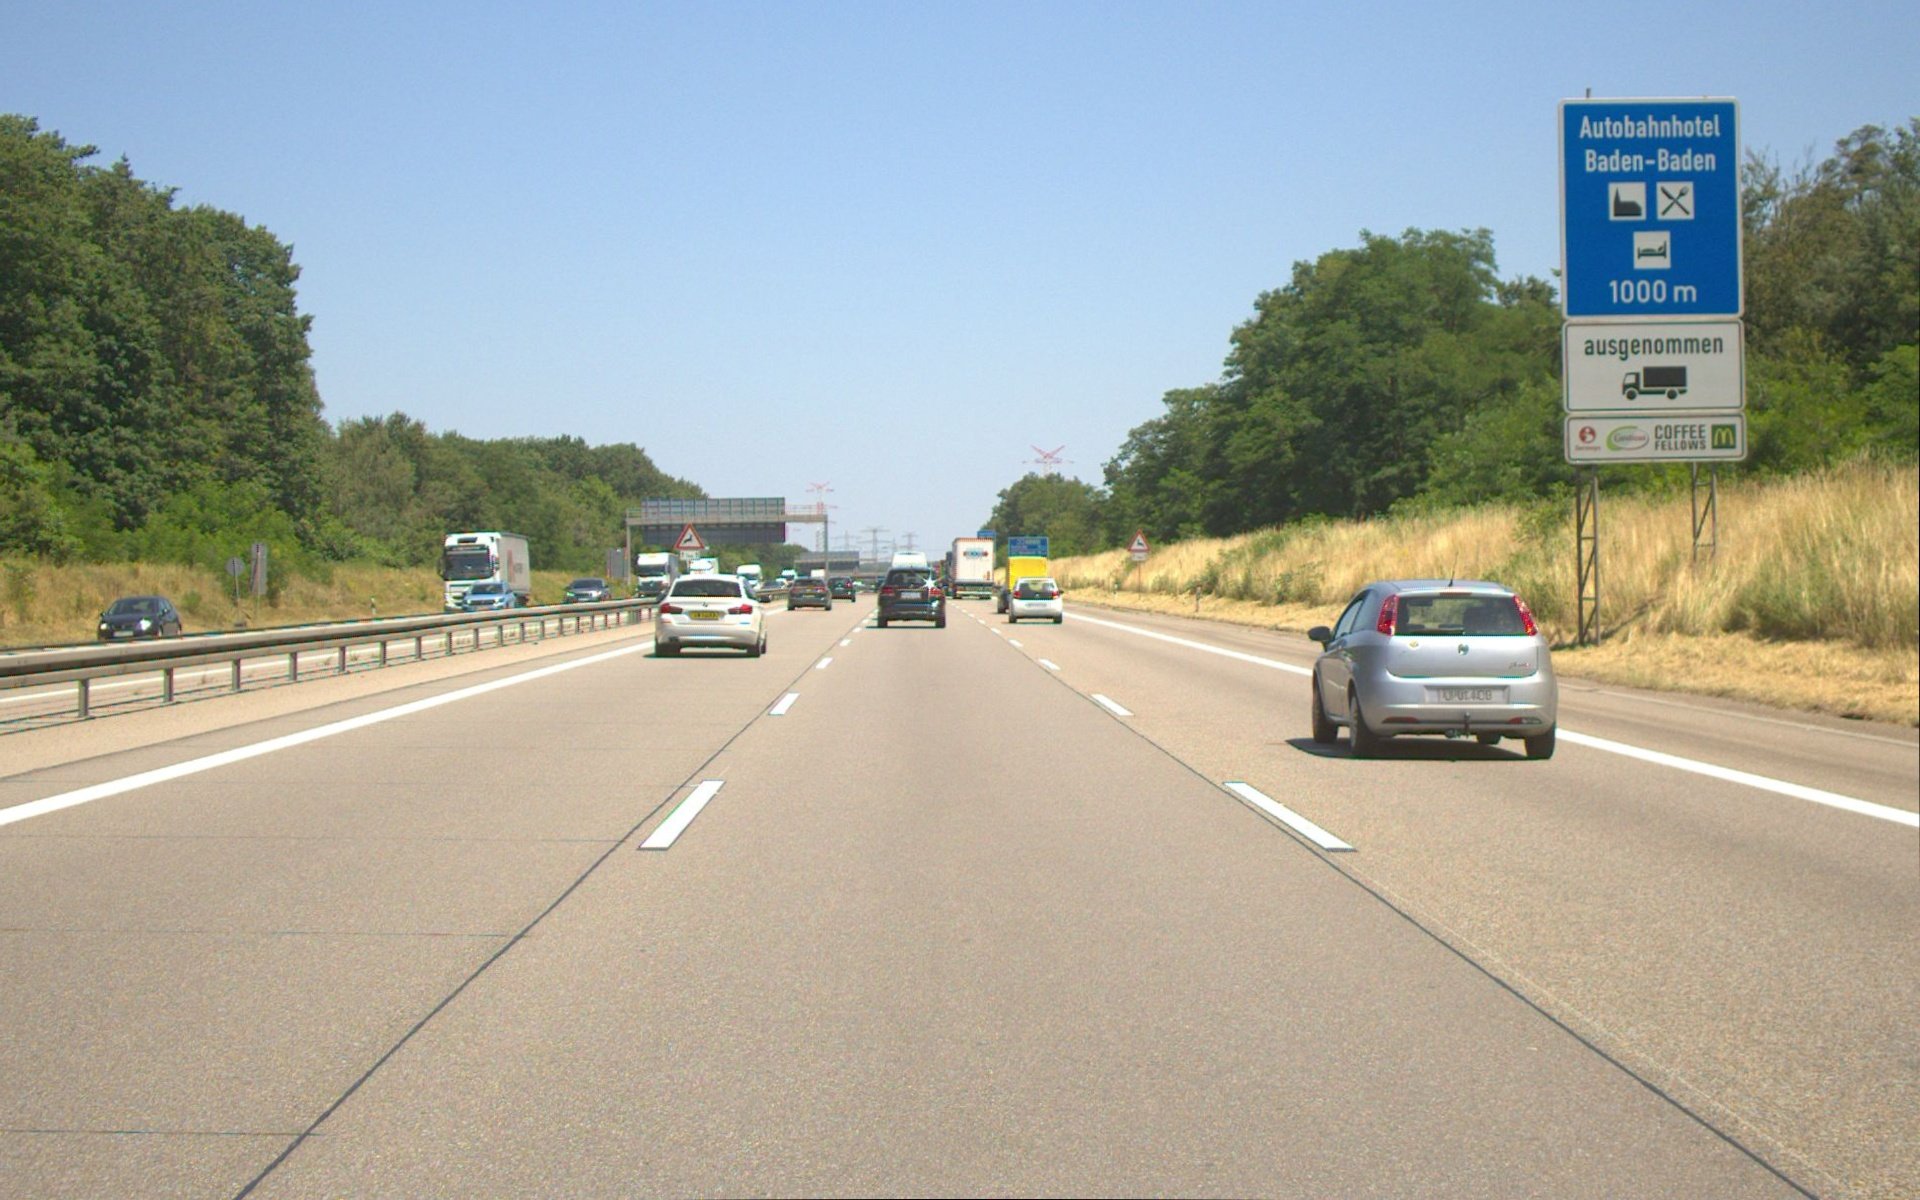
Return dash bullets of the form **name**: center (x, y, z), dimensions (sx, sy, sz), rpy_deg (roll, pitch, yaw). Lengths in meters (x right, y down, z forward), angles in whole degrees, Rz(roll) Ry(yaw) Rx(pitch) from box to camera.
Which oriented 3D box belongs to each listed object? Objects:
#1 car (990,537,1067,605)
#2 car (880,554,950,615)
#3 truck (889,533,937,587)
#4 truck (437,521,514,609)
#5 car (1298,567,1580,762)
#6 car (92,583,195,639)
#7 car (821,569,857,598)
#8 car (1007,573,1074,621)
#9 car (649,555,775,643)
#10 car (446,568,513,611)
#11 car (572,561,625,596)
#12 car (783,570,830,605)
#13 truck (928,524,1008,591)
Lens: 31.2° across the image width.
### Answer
- **car**: center (2.700, -1.141, 137.220), dimensions (2.666, 2.625, 6.113), rpy_deg (1, 0, -2)
- **car**: center (-1.290, -0.450, 97.860), dimensions (1.831, 1.666, 4.000), rpy_deg (1, 0, -3)
- **truck**: center (-2.597, -2.172, 187.717), dimensions (2.428, 2.874, 6.206), rpy_deg (1, 0, -2)
- **truck**: center (-23.474, -1.702, 166.759), dimensions (2.904, 4.053, 5.654), rpy_deg (-2, 1, -2)
- **car**: center (4.020, 0.498, 29.388), dimensions (1.719, 1.486, 3.738), rpy_deg (1, 1, -2)
- **car**: center (-22.176, 0.272, 93.477), dimensions (1.814, 1.390, 4.111), rpy_deg (-2, 1, -1)
- **car**: center (-6.915, -0.930, 196.705), dimensions (1.876, 1.575, 3.928), rpy_deg (0, 1, 0)
- **car**: center (2.532, -0.105, 109.172), dimensions (1.821, 1.486, 3.737), rpy_deg (1, 0, -3)
- **car**: center (-4.446, -0.044, 62.279), dimensions (1.963, 1.498, 5.405), rpy_deg (1, 0, -1)
- **car**: center (-18.822, -0.417, 134.872), dimensions (1.993, 1.562, 4.528), rpy_deg (-2, 1, -1)
- **car**: center (-17.459, -1.045, 166.258), dimensions (1.993, 1.562, 5.190), rpy_deg (-2, 1, -1)
- **car**: center (-6.506, -0.539, 146.083), dimensions (1.832, 1.427, 5.000), rpy_deg (1, 1, -1)
- **truck**: center (0.513, -2.871, 233.121), dimensions (3.991, 4.300, 9.884), rpy_deg (2, 0, -8)
